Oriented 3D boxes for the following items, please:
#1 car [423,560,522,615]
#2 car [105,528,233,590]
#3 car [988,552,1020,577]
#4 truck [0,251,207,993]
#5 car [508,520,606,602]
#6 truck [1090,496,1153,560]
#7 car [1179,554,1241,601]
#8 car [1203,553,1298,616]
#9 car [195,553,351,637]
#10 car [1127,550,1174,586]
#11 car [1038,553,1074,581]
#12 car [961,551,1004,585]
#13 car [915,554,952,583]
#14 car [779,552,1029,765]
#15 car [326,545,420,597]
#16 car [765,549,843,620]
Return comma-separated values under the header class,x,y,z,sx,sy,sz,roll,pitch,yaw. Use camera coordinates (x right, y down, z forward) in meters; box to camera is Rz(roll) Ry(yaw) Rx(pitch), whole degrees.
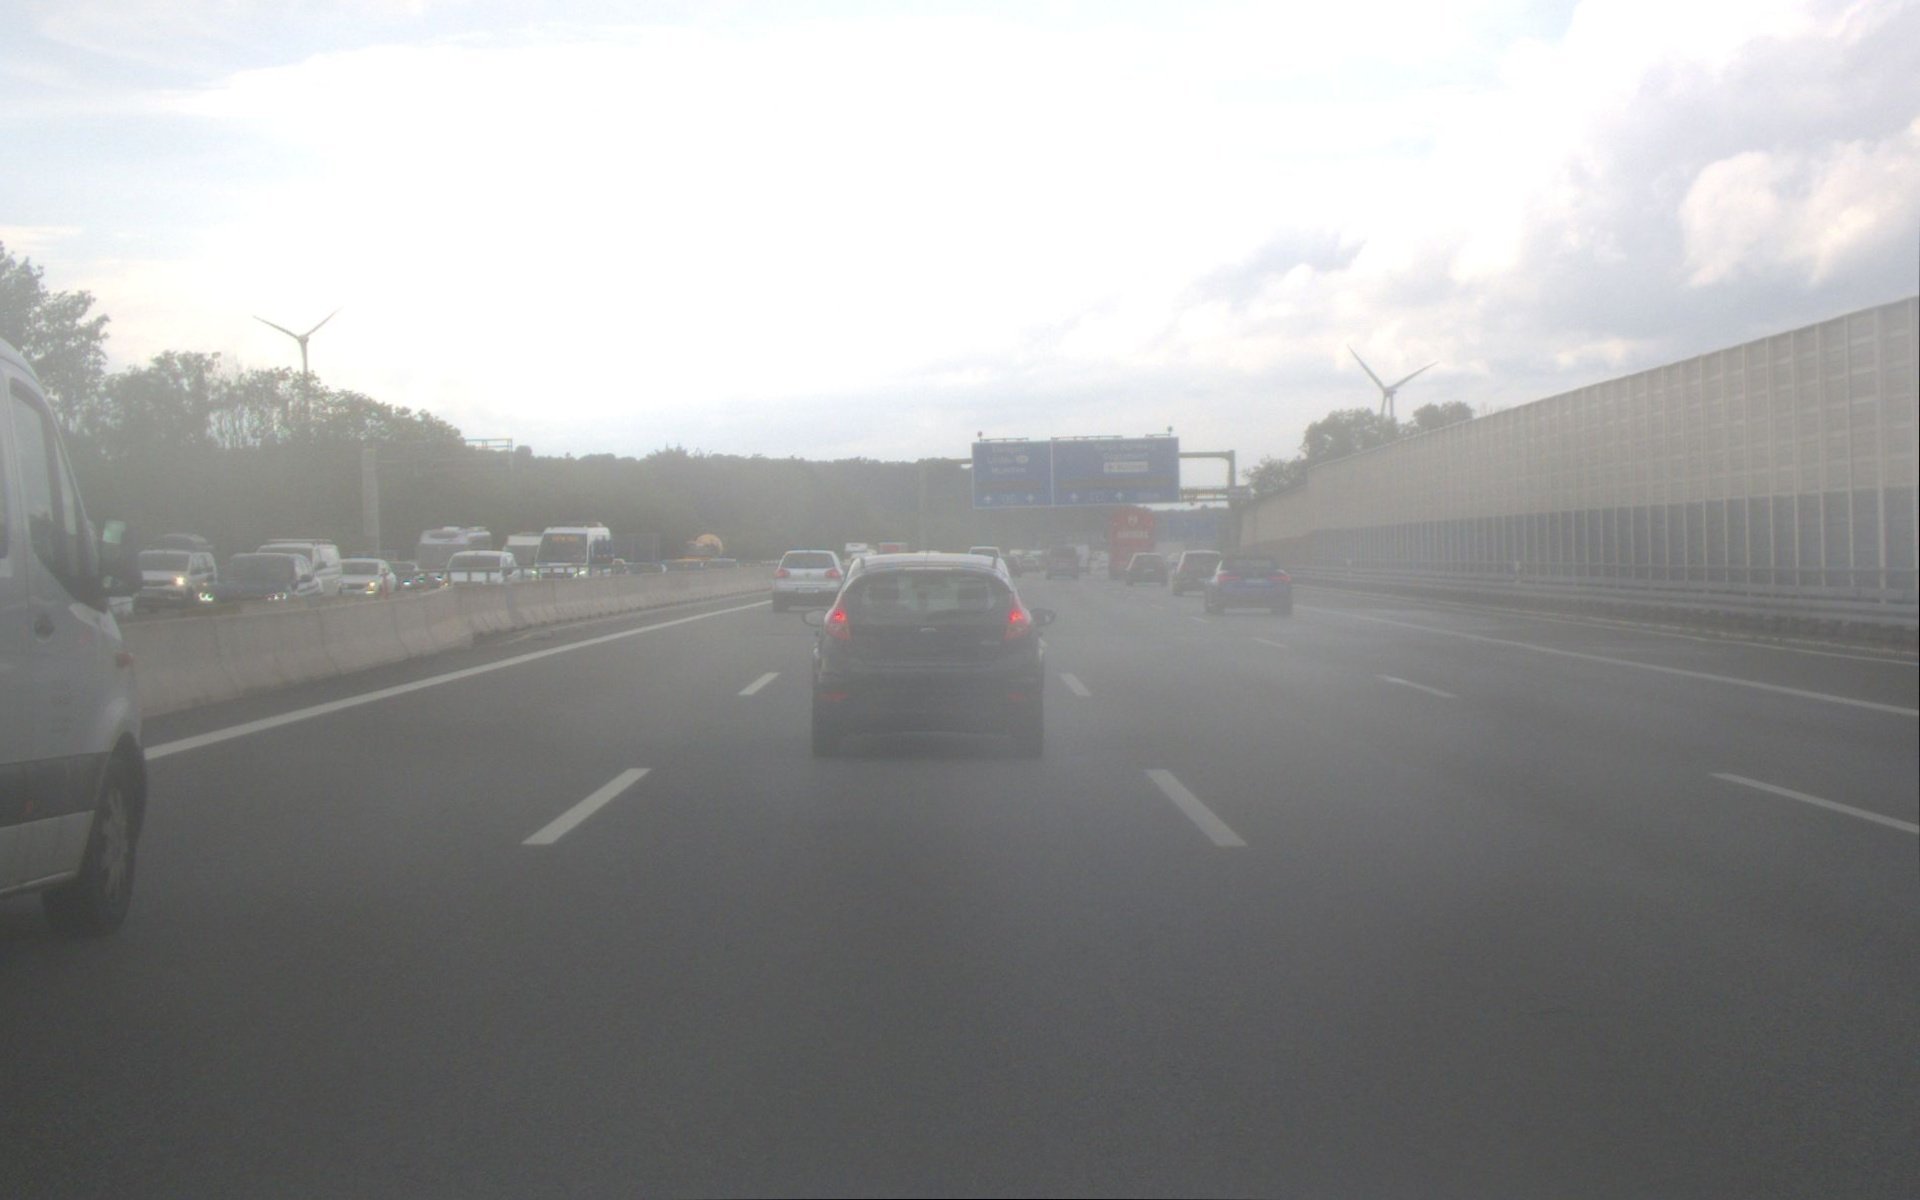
class,x,y,z,sx,sy,sz,roll,pitch,yaw
car,-14.176,-0.380,100.179,2.060,1.529,5.470,0,1,0
car,-21.722,-1.123,94.686,2.060,1.640,6.121,0,1,0
car,2.890,-2.305,224.771,1.968,1.555,4.433,-1,0,-1
truck,-4.300,0.069,11.248,2.306,2.431,7.149,0,1,-2
car,-14.490,-1.448,124.240,2.231,2.740,9.164,0,2,1
truck,9.410,-4.215,201.442,3.152,3.589,12.700,1,1,0
car,8.456,-0.771,116.585,1.882,1.537,4.433,-1,0,1
car,6.772,-0.369,80.481,1.950,1.413,4.232,0,0,1
car,-13.908,-0.139,69.899,2.060,1.640,5.380,0,1,0
car,8.594,-1.425,155.231,1.882,1.555,4.433,-1,0,0
car,5.580,-1.922,199.426,1.968,1.555,4.433,-1,0,0
car,1.047,-1.501,161.377,1.968,1.555,4.433,-1,0,0
car,-1.436,-1.739,188.546,1.968,1.555,4.433,-1,0,0
car,-0.402,0.373,25.817,1.717,1.412,4.279,0,2,0
car,-17.811,-0.896,104.555,2.060,1.529,4.519,0,1,0
car,-3.733,-0.404,82.925,1.717,1.618,4.279,0,1,0
